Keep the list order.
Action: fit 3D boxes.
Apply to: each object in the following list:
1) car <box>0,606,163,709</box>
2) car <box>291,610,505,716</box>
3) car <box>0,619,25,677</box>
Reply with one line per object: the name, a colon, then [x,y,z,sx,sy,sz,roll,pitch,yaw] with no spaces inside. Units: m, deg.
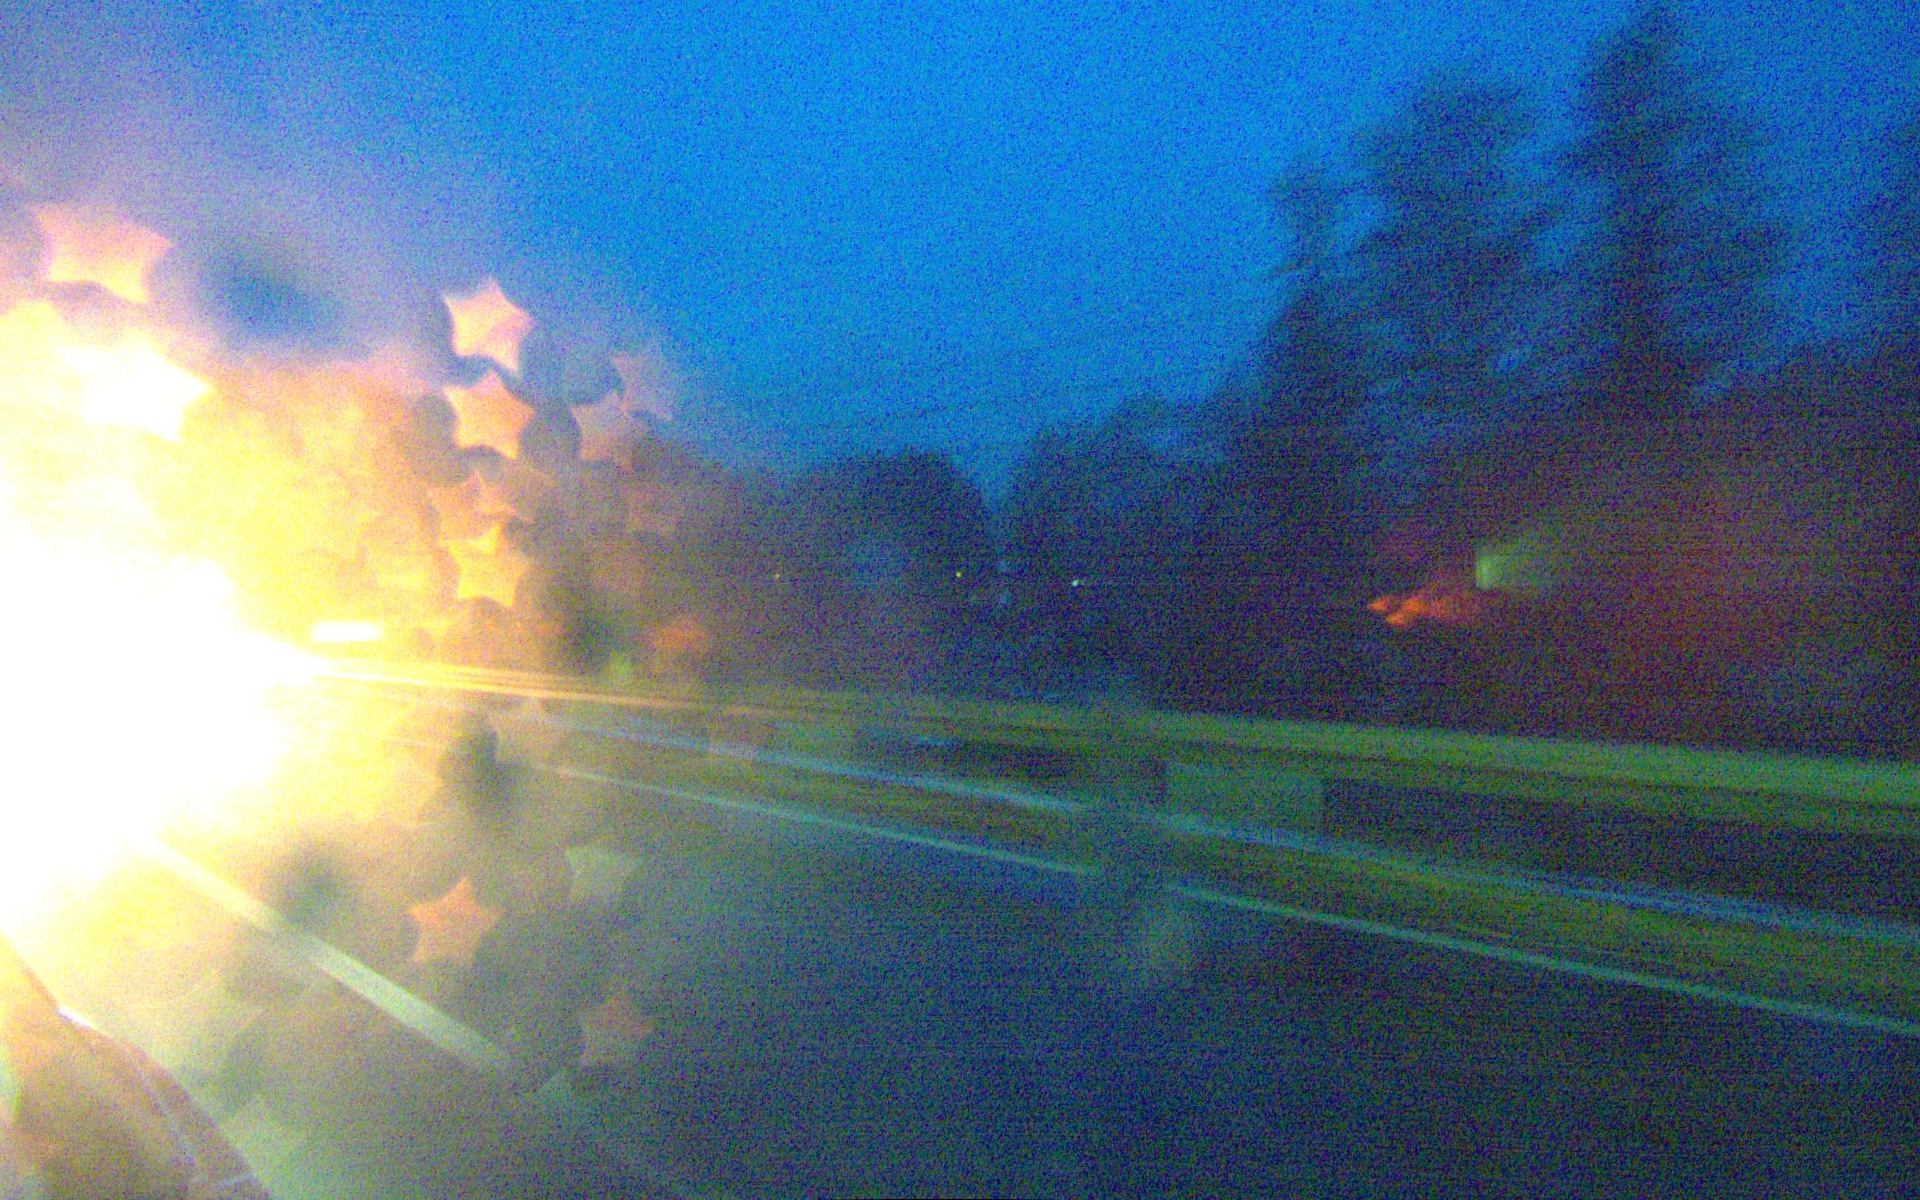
car: [-16.470,0.975,18.671,4.819,1.651,1.926,-1,-2,41]
car: [-9.765,0.995,17.437,4.439,1.566,1.811,-1,-1,41]
car: [-29.385,1.406,30.177,4.423,1.645,1.767,-1,-1,41]
